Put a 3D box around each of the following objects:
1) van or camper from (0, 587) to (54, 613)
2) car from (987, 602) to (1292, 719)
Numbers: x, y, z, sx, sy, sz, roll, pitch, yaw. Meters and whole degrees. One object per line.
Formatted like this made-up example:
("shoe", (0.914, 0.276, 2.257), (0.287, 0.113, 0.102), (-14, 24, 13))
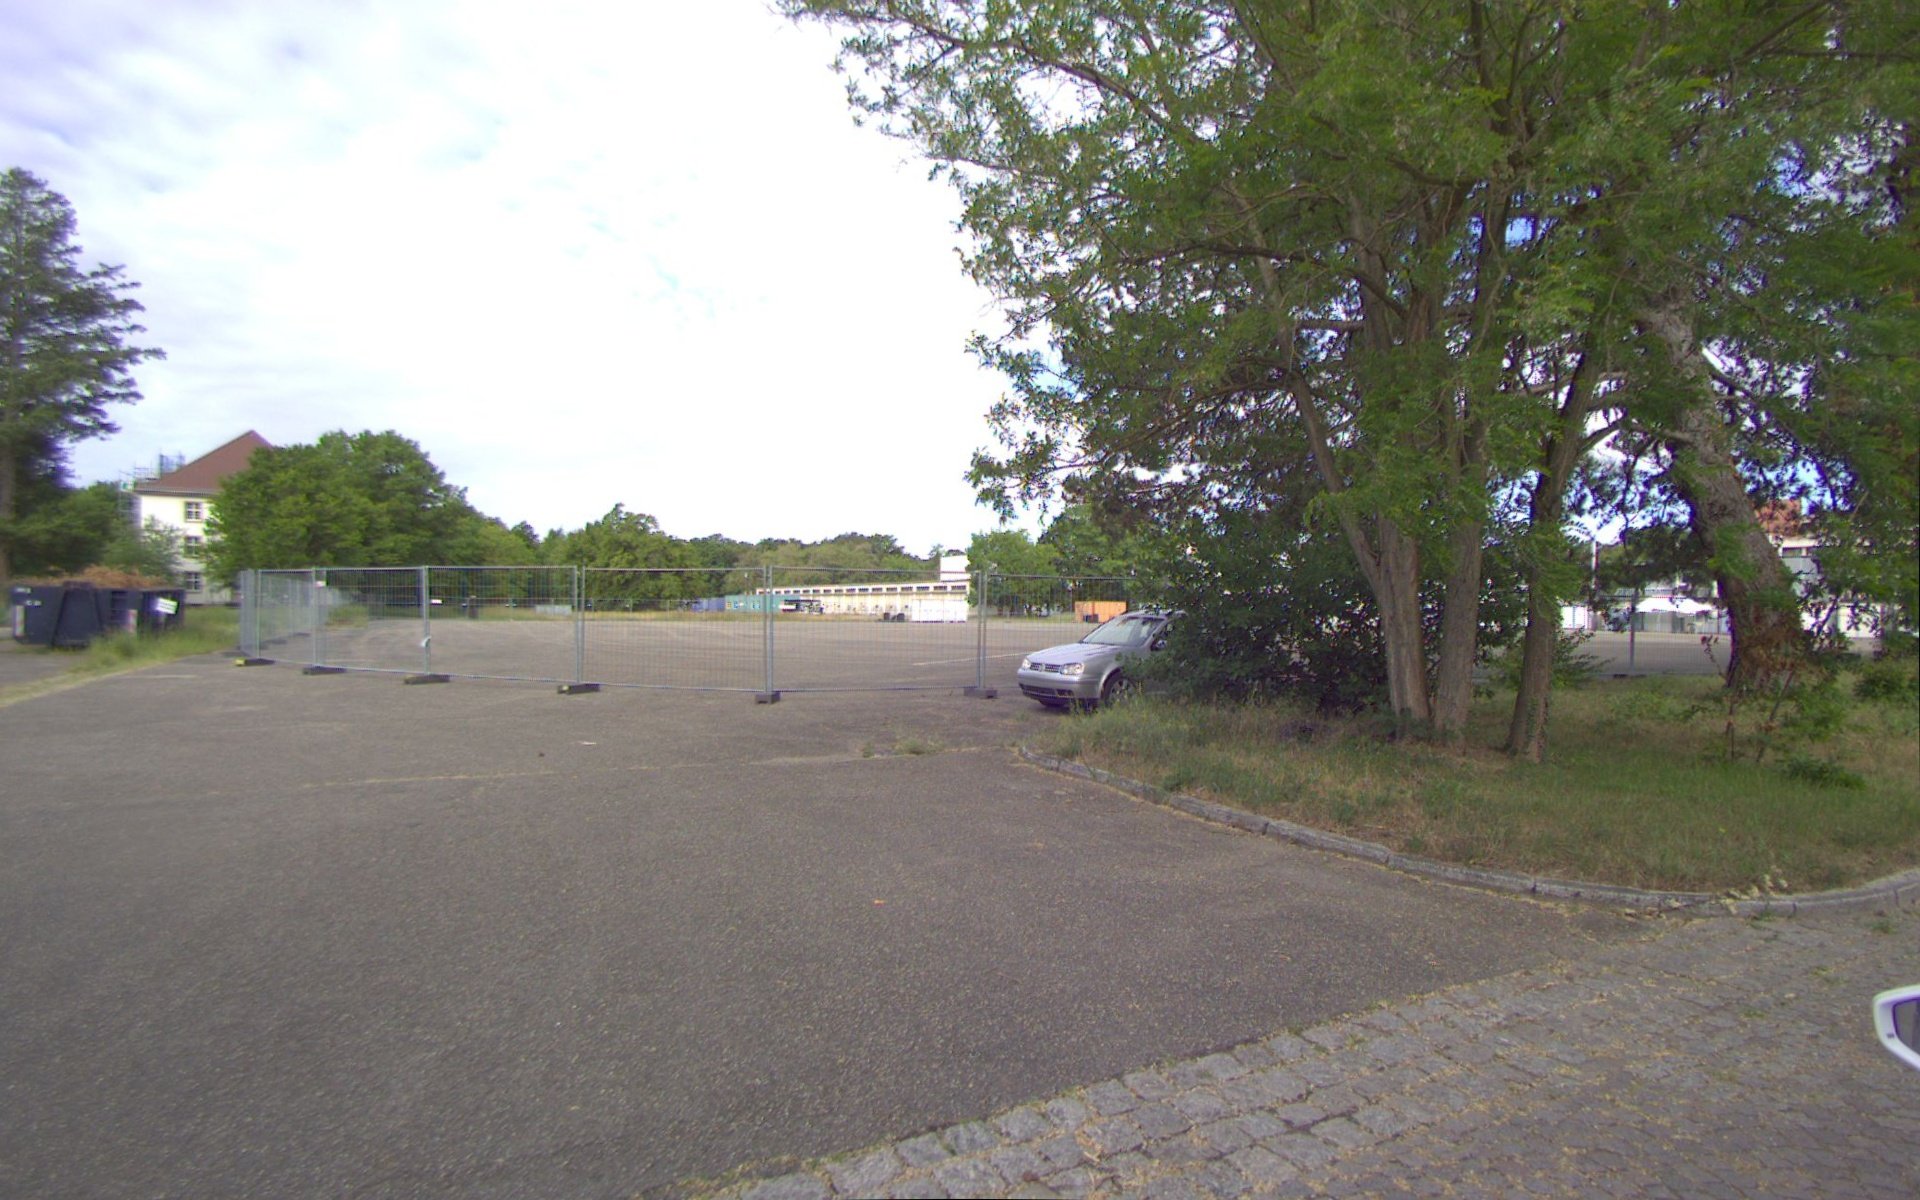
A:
("van or camper", (-94.479, -0.023, 100.629), (5.192, 2.496, 2.190), (1, 0, -31))
("car", (2.716, 0.810, 14.925), (4.321, 1.496, 1.908), (1, 0, -32))
